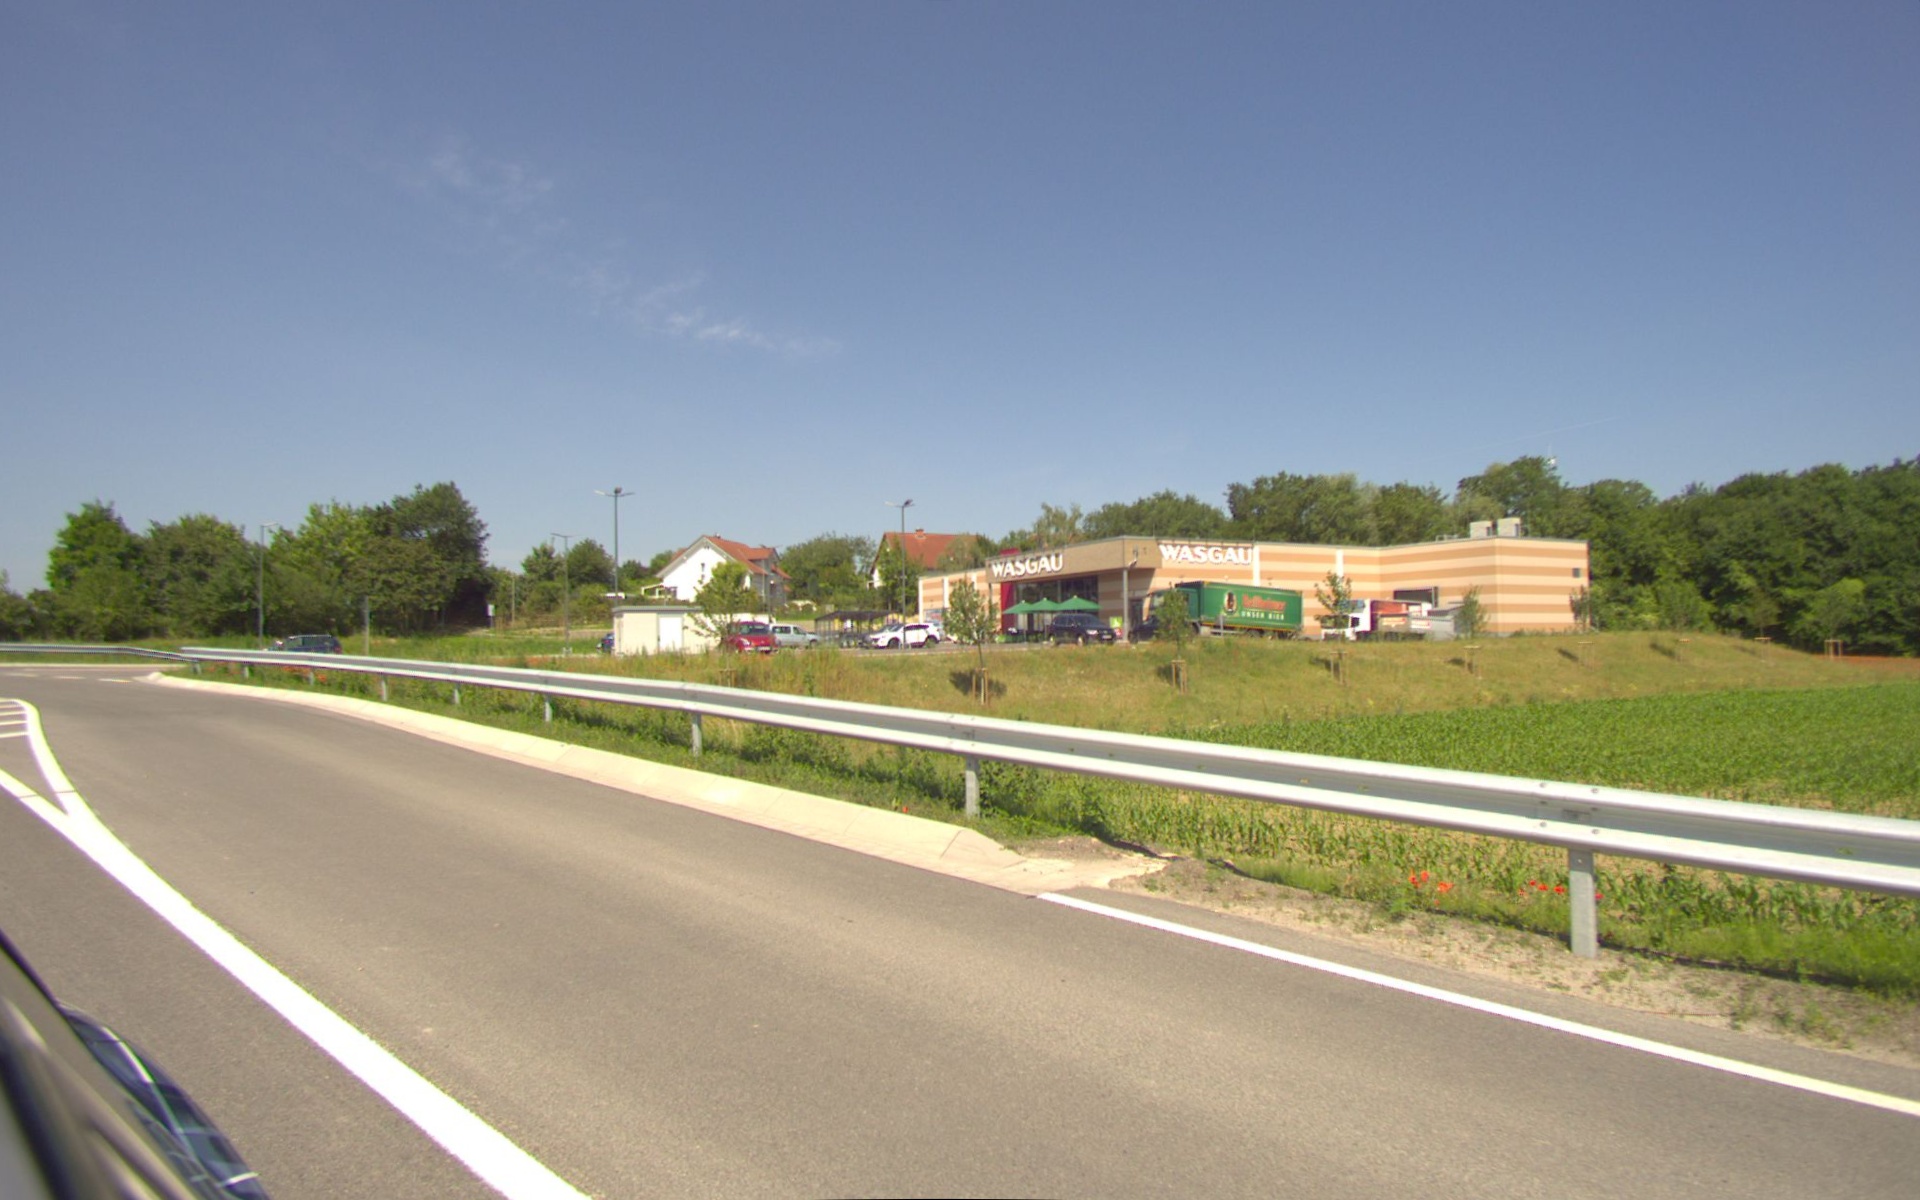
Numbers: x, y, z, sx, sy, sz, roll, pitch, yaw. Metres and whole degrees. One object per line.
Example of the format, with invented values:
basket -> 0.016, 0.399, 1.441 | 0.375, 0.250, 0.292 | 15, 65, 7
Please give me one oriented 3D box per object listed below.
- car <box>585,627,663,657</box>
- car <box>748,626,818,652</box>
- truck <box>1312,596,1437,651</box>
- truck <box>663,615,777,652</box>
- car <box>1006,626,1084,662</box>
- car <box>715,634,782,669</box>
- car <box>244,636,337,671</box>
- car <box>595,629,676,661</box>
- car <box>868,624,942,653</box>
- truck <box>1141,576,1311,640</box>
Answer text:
car -> -21.094, 2.602, 63.558 | 4.260, 1.717, 2.006 | 0, 0, -32
car -> -12.048, 2.643, 68.932 | 4.259, 1.610, 2.006 | 0, 0, -30
truck -> 28.237, 1.521, 68.851 | 8.729, 3.591, 2.888 | 0, 0, -27
truck -> -22.218, 3.021, 94.253 | 10.557, 3.215, 2.450 | 0, -1, -43
car -> 4.301, 2.216, 51.884 | 1.966, 1.773, 4.011 | 0, -1, -33
car -> -8.697, 2.064, 41.421 | 1.596, 1.299, 3.685 | 0, -1, -30
car -> -36.383, 2.897, 55.142 | 4.125, 1.717, 2.006 | 0, 0, -30
car -> -18.954, 2.574, 59.027 | 4.258, 1.717, 2.007 | 0, 0, -26
car -> -3.474, 2.392, 64.209 | 4.258, 1.717, 2.006 | 0, 0, -28
truck -> 15.419, 0.431, 58.497 | 9.769, 3.503, 2.888 | 0, 0, -23
